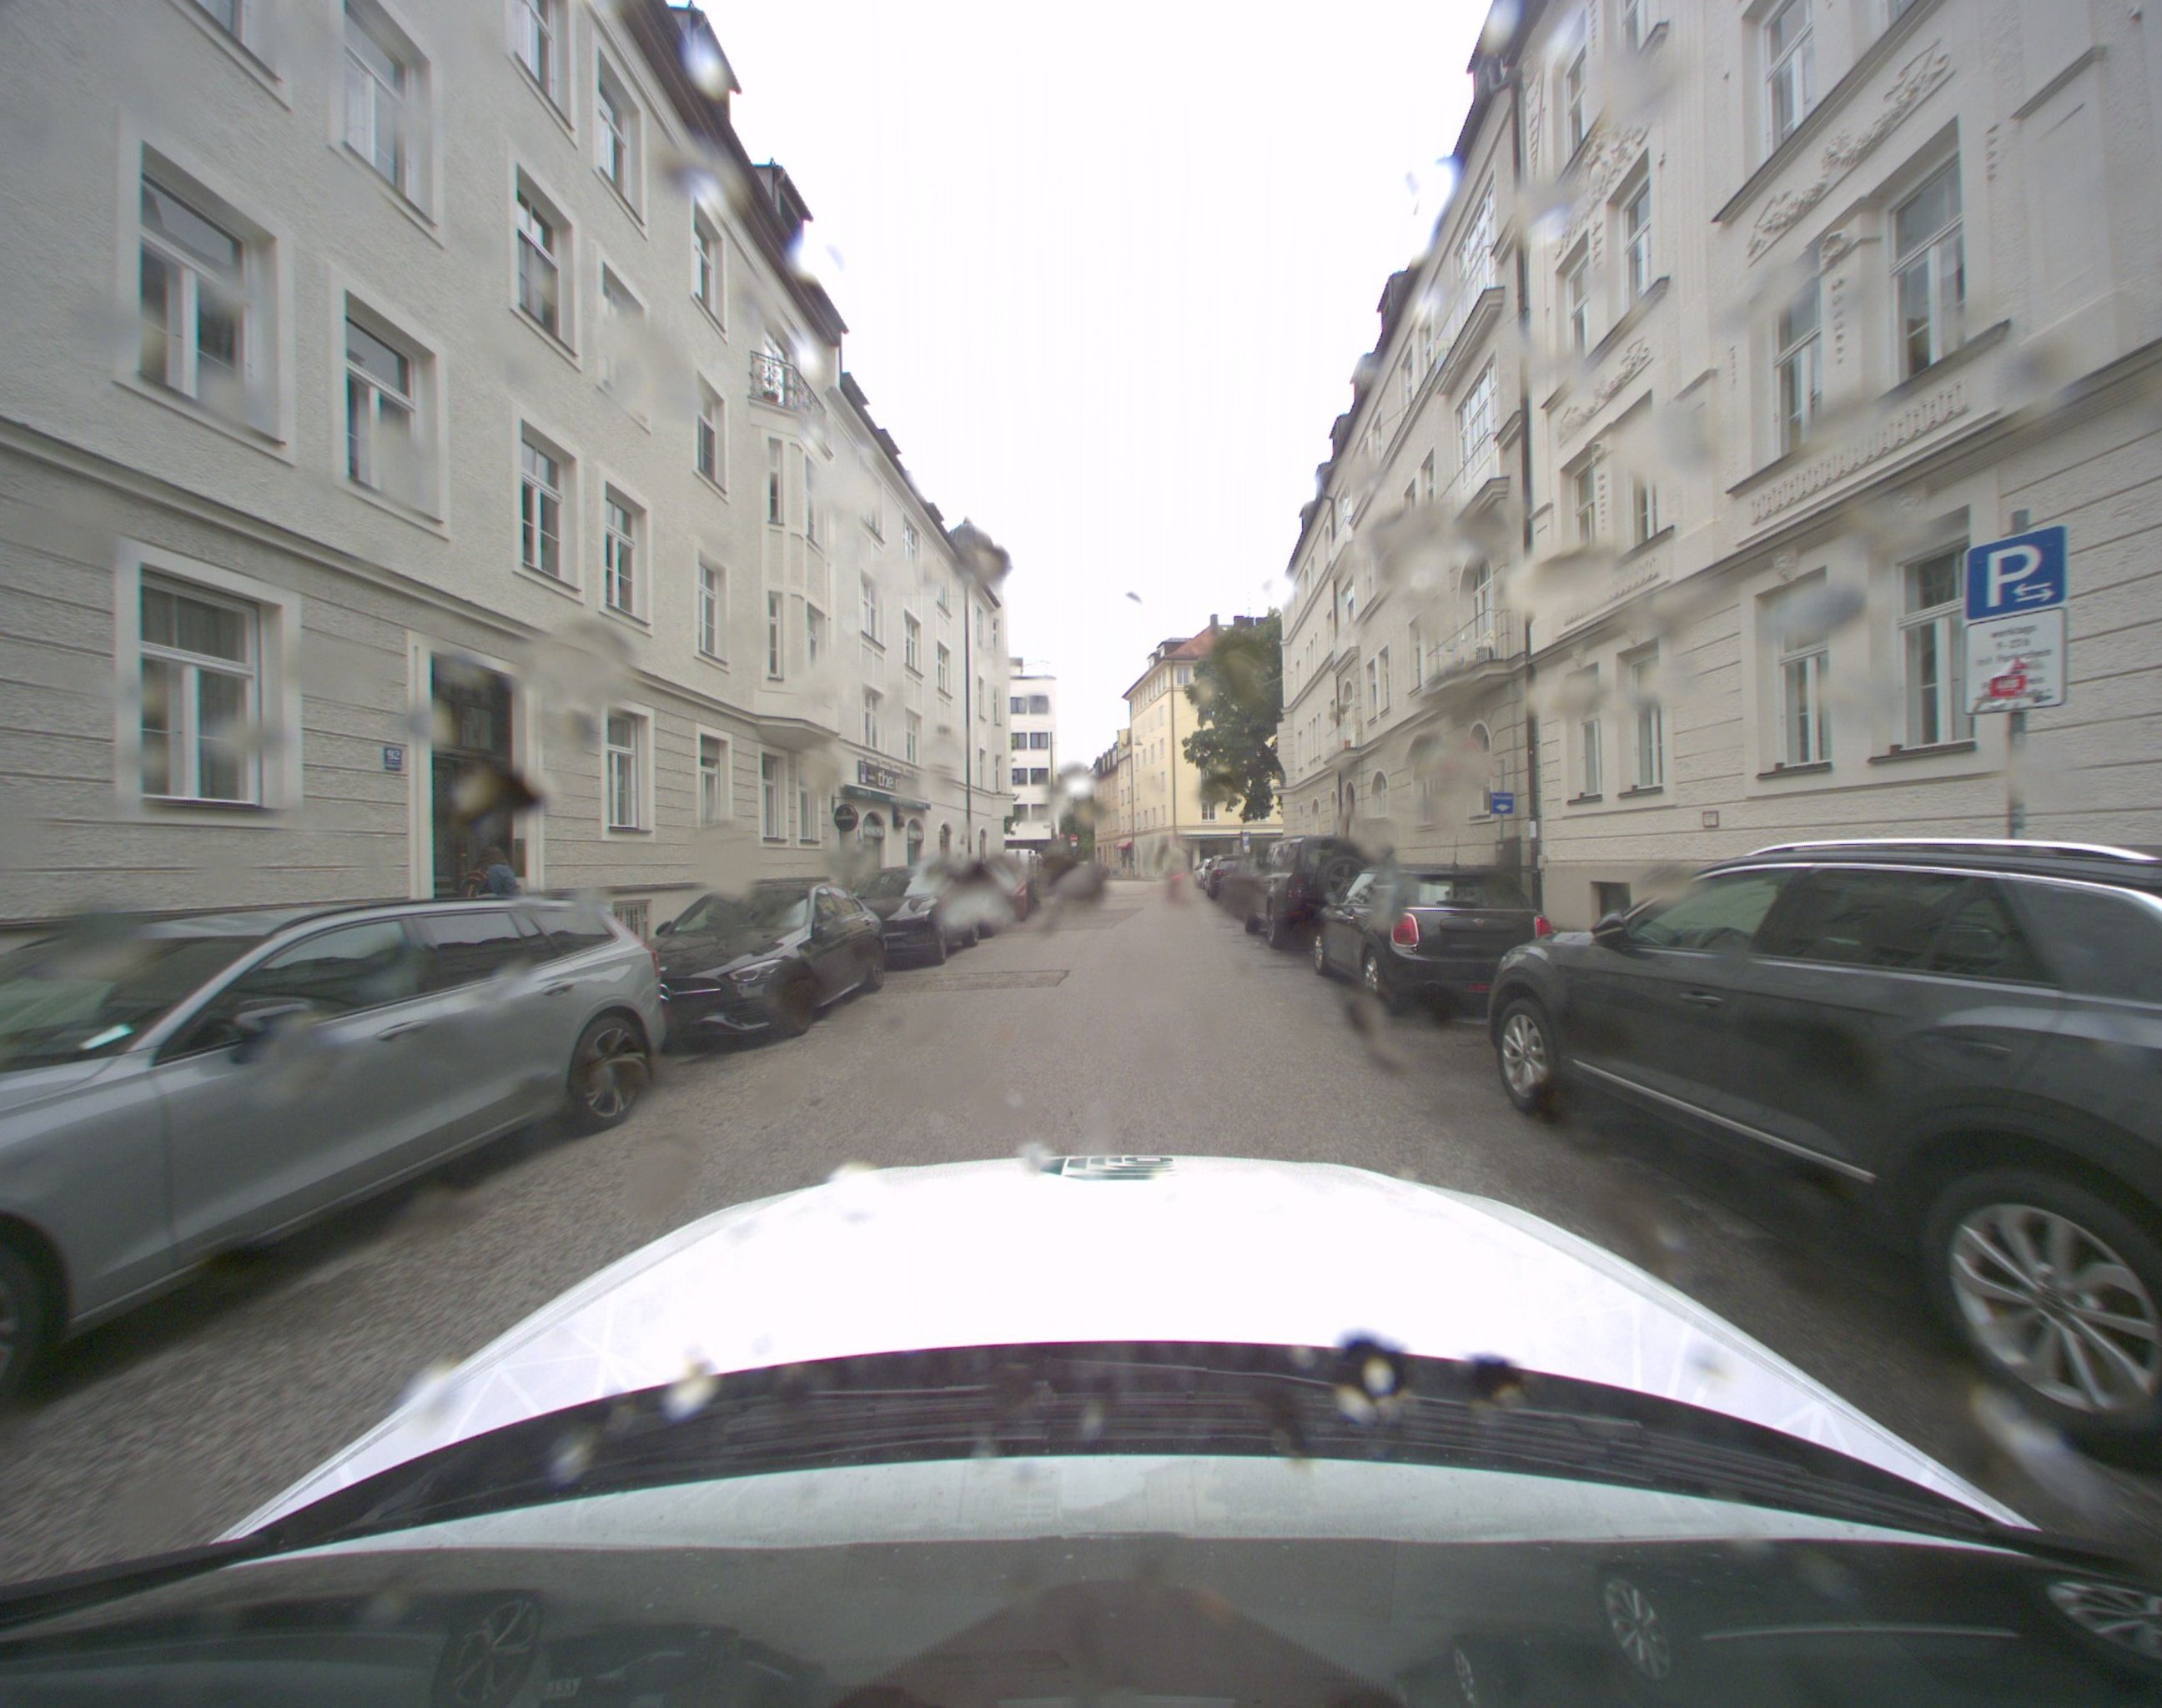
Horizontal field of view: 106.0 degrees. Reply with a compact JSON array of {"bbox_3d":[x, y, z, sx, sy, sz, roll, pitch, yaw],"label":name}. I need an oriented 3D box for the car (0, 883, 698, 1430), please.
[{"bbox_3d":[-3.811,0.952,3.615,1.787,1.420,4.514,-4,-1,3],"label":"car"}]

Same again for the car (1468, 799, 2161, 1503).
[{"bbox_3d":[3.337,0.676,3.340,1.701,1.588,4.001,0,0,2],"label":"car"}]

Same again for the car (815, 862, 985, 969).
[{"bbox_3d":[-2.862,0.905,13.838,1.734,1.487,4.184,-2,-1,3],"label":"car"}]

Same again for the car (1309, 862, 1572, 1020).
[{"bbox_3d":[3.710,0.789,9.085,1.656,1.395,3.587,0,-1,5],"label":"car"}]

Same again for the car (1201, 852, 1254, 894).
[{"bbox_3d":[6.484,0.817,36.503,1.782,1.713,4.430,-2,-1,3],"label":"car"}]

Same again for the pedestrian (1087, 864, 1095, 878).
[{"bbox_3d":[1.286,2.098,101.391,0.877,1.778,0.771,-2,-1,-8],"label":"pedestrian"}]

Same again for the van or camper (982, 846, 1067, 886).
[{"bbox_3d":[-4.072,0.868,58.790,5.895,2.677,1.870,-2,-3,-5],"label":"van or camper"}]

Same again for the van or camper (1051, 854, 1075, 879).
[{"bbox_3d":[-1.948,1.367,86.678,1.991,2.540,4.749,-2,-1,-7],"label":"van or camper"}]

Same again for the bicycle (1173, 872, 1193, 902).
[{"bbox_3d":[3.649,1.150,29.082,0.636,1.004,1.577,-2,-1,7],"label":"bicycle"}]

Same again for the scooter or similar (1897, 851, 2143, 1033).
[{"bbox_3d":[7.400,0.638,6.511,0.503,1.287,1.355,-4,-1,12],"label":"scooter or similar"}]

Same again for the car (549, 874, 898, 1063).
[{"bbox_3d":[-3.448,0.998,8.932,1.805,1.385,4.442,-3,-1,0],"label":"car"}]

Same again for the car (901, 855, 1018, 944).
[{"bbox_3d":[-2.633,0.928,18.599,1.739,1.673,4.278,-4,0,2],"label":"car"}]

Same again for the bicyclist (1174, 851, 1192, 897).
[{"bbox_3d":[3.652,0.715,29.170,0.602,1.606,0.759,-2,0,7],"label":"bicyclist"}]

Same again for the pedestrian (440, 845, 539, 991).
[{"bbox_3d":[-7.213,0.754,9.961,0.695,1.707,0.665,-1,-1,1],"label":"pedestrian"}]

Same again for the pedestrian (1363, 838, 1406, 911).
[{"bbox_3d":[7.266,0.495,19.505,0.677,1.674,0.654,-4,-1,1],"label":"pedestrian"}]

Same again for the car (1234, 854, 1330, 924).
[{"bbox_3d":[4.805,0.778,19.877,1.647,1.525,3.640,-1,0,4],"label":"car"}]

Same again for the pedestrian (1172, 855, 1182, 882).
[{"bbox_3d":[6.018,0.920,50.957,0.607,1.661,0.552,-1,-1,8],"label":"pedestrian"}]

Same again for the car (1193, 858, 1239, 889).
[{"bbox_3d":[6.884,0.970,41.873,1.744,1.496,3.910,-1,-1,1],"label":"car"}]

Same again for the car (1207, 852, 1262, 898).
[{"bbox_3d":[5.859,0.775,31.586,1.768,1.636,4.383,0,0,6],"label":"car"}]

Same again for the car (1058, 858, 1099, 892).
[{"bbox_3d":[-0.074,1.088,42.433,1.668,1.597,3.950,-4,-1,5],"label":"car"}]

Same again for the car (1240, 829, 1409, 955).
[{"bbox_3d":[4.166,0.592,14.761,1.903,1.885,4.718,1,0,3],"label":"car"}]

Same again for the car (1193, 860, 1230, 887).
[{"bbox_3d":[7.385,1.097,46.333,1.662,1.435,4.217,-1,0,4],"label":"car"}]

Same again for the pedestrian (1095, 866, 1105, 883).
[{"bbox_3d":[1.472,1.601,63.210,0.695,1.270,0.652,-2,-1,8],"label":"pedestrian"}]

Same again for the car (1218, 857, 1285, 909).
[{"bbox_3d":[5.336,0.858,25.892,1.697,1.471,4.209,-2,0,7],"label":"car"}]
